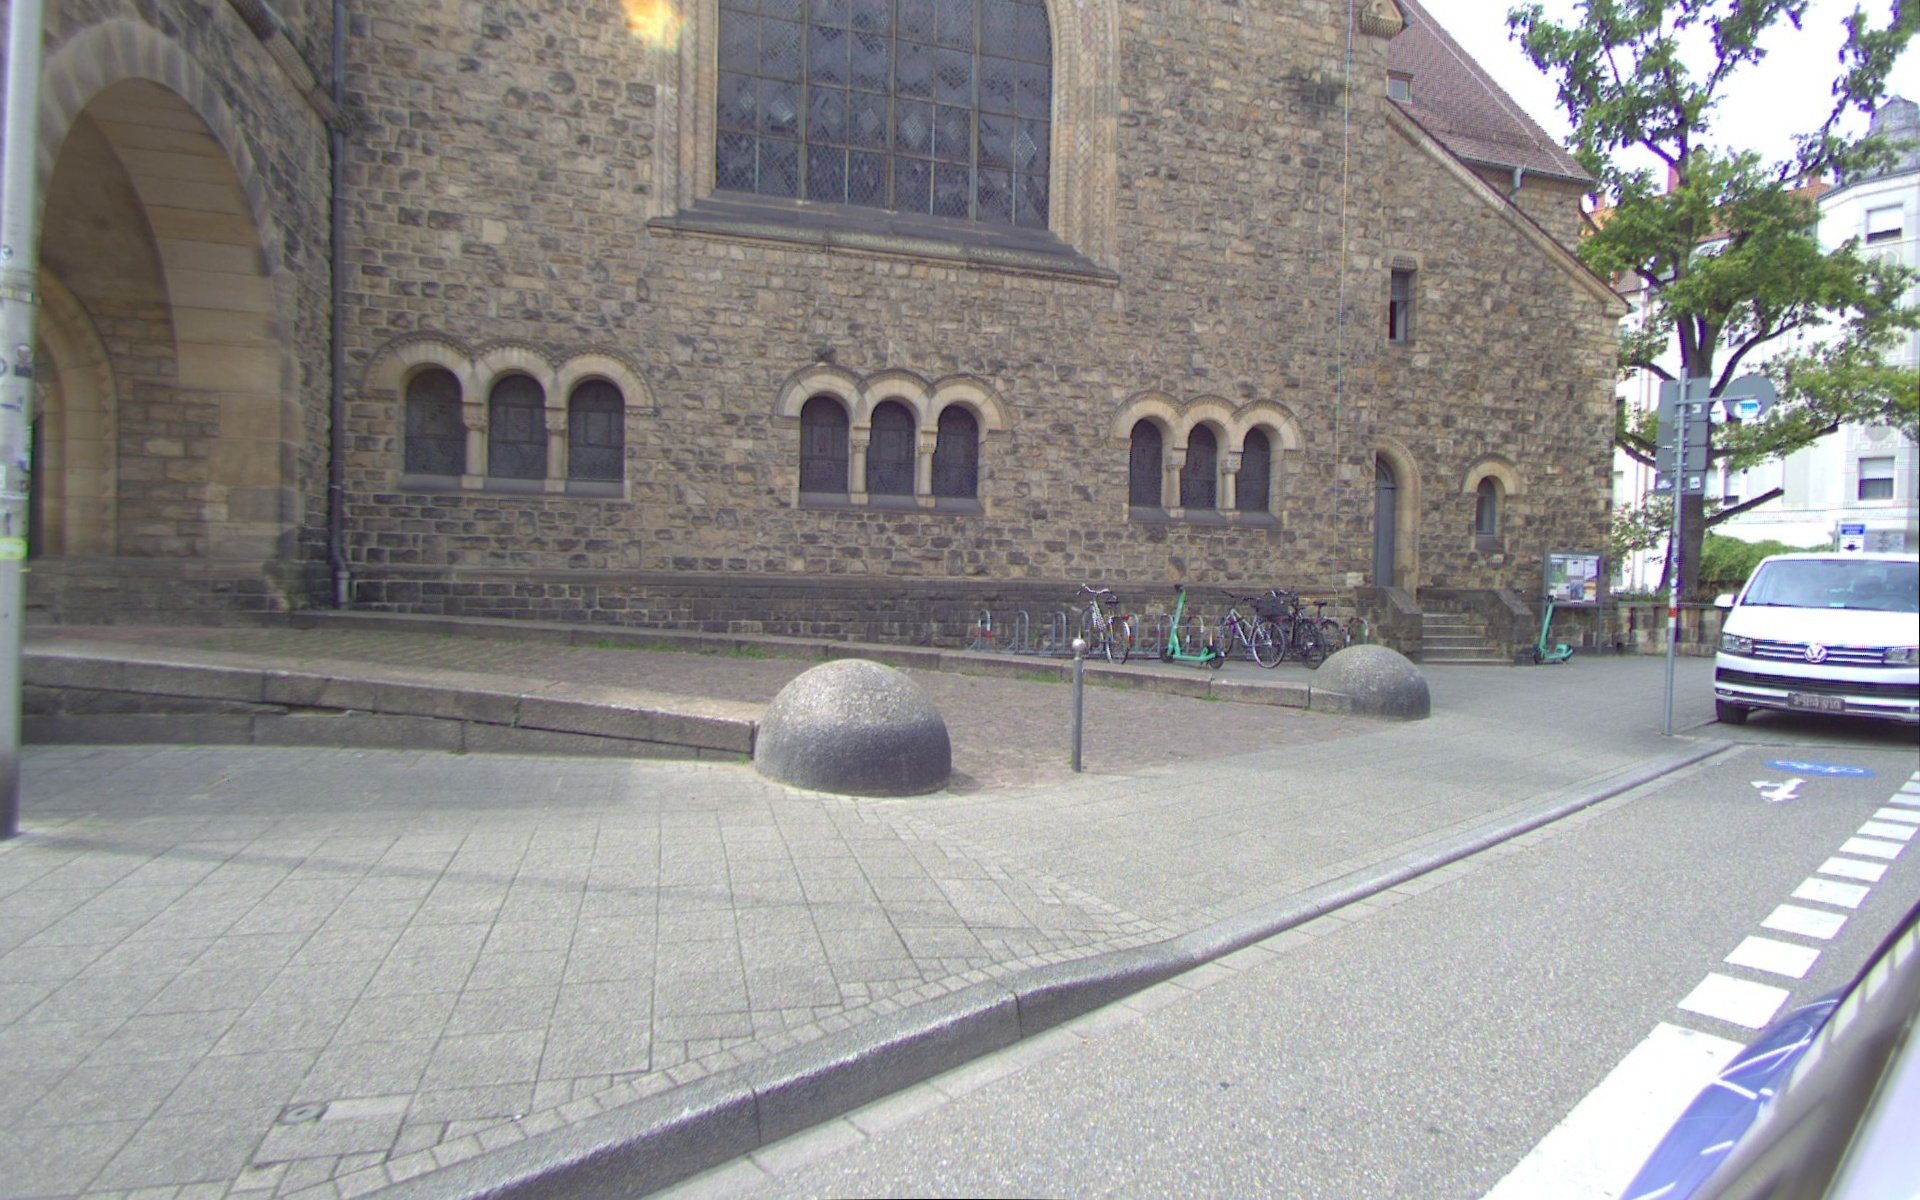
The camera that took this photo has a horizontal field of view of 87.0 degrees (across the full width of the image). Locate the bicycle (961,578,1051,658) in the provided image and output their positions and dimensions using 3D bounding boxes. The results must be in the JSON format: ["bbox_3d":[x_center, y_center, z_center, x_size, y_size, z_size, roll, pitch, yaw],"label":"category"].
[{"bbox_3d":[0.611,0.220,14.188,0.534,0.969,1.787,1,3,-21],"label":"bicycle"}]

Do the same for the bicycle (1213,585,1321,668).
[{"bbox_3d":[4.575,0.366,15.202,0.534,1.125,1.786,1,1,-21],"label":"bicycle"}]

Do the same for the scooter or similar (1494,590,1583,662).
[{"bbox_3d":[10.253,0.455,17.938,1.450,1.222,0.547,1,1,-21],"label":"scooter or similar"}]

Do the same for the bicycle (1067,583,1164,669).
[{"bbox_3d":[2.208,0.338,14.614,0.534,1.125,1.786,1,1,-21],"label":"bicycle"}]

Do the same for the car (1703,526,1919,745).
[{"bbox_3d":[10.450,0.287,11.653,5.035,2.054,2.018,0,3,-42],"label":"car"}]

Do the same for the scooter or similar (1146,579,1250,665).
[{"bbox_3d":[3.455,0.292,14.853,0.534,1.154,1.786,1,1,-21],"label":"scooter or similar"}]

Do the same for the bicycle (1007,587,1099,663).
[{"bbox_3d":[1.295,0.325,14.401,0.534,0.969,1.786,1,1,-21],"label":"bicycle"}]

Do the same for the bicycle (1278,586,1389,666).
[{"bbox_3d":[5.734,0.365,15.647,0.534,1.125,1.786,1,1,-21],"label":"bicycle"}]

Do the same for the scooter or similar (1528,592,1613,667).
[{"bbox_3d":[10.425,0.496,17.276,1.413,1.222,0.547,1,1,-27],"label":"scooter or similar"}]

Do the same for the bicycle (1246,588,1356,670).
[{"bbox_3d":[5.145,0.413,15.402,0.534,1.125,1.779,1,1,-21],"label":"bicycle"}]
